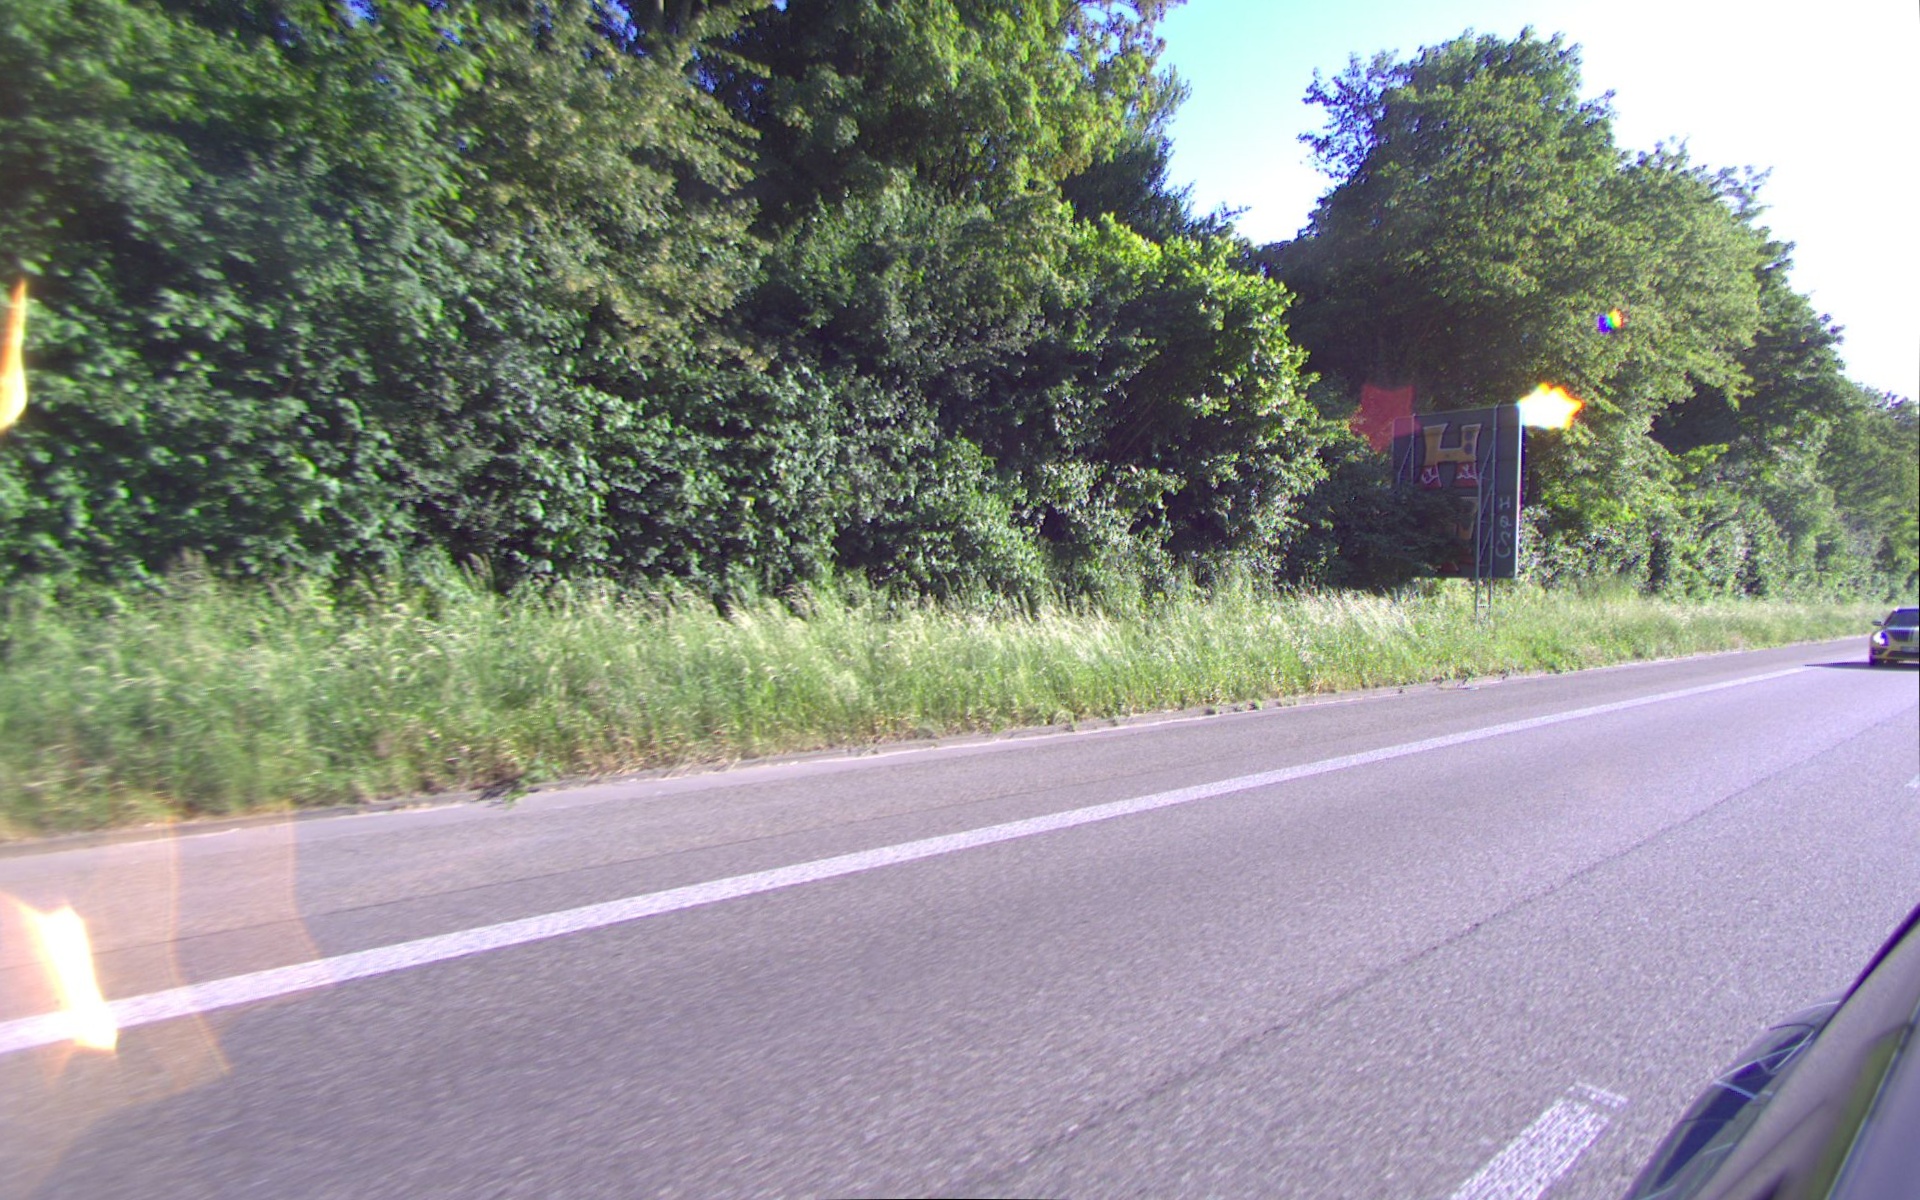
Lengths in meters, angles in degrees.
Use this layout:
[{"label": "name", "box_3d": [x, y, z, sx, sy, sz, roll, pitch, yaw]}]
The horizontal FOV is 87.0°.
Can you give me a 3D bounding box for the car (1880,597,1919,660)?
[{"label": "car", "box_3d": [23.899, 0.669, 24.685, 3.811, 1.467, 1.793, 0, 0, -42]}]
